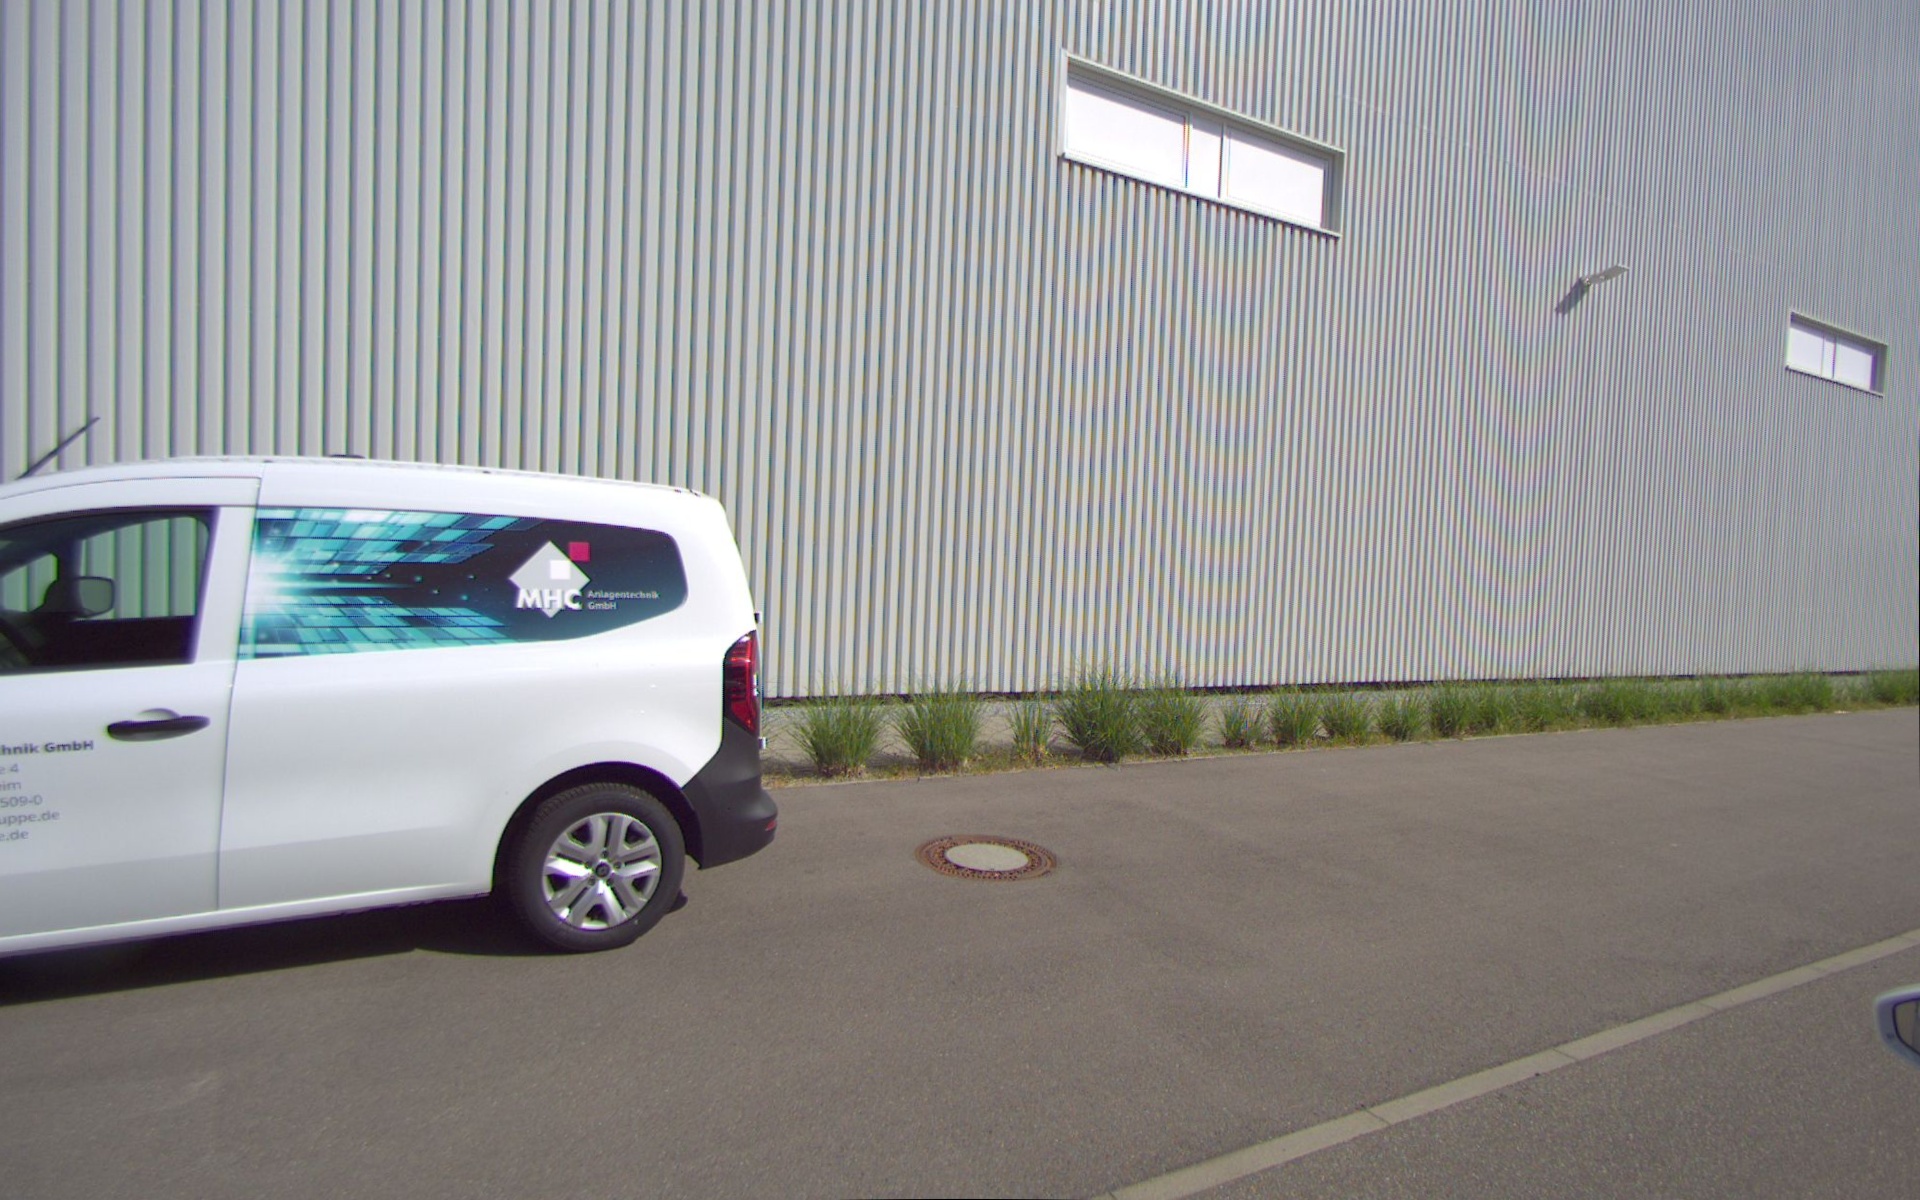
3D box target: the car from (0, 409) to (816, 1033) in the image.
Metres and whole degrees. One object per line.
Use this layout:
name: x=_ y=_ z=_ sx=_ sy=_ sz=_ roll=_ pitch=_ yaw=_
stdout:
car: x=-3.057 y=0.301 z=3.832 sx=4.542 sy=1.814 sz=1.919 roll=1 pitch=3 yaw=-29
